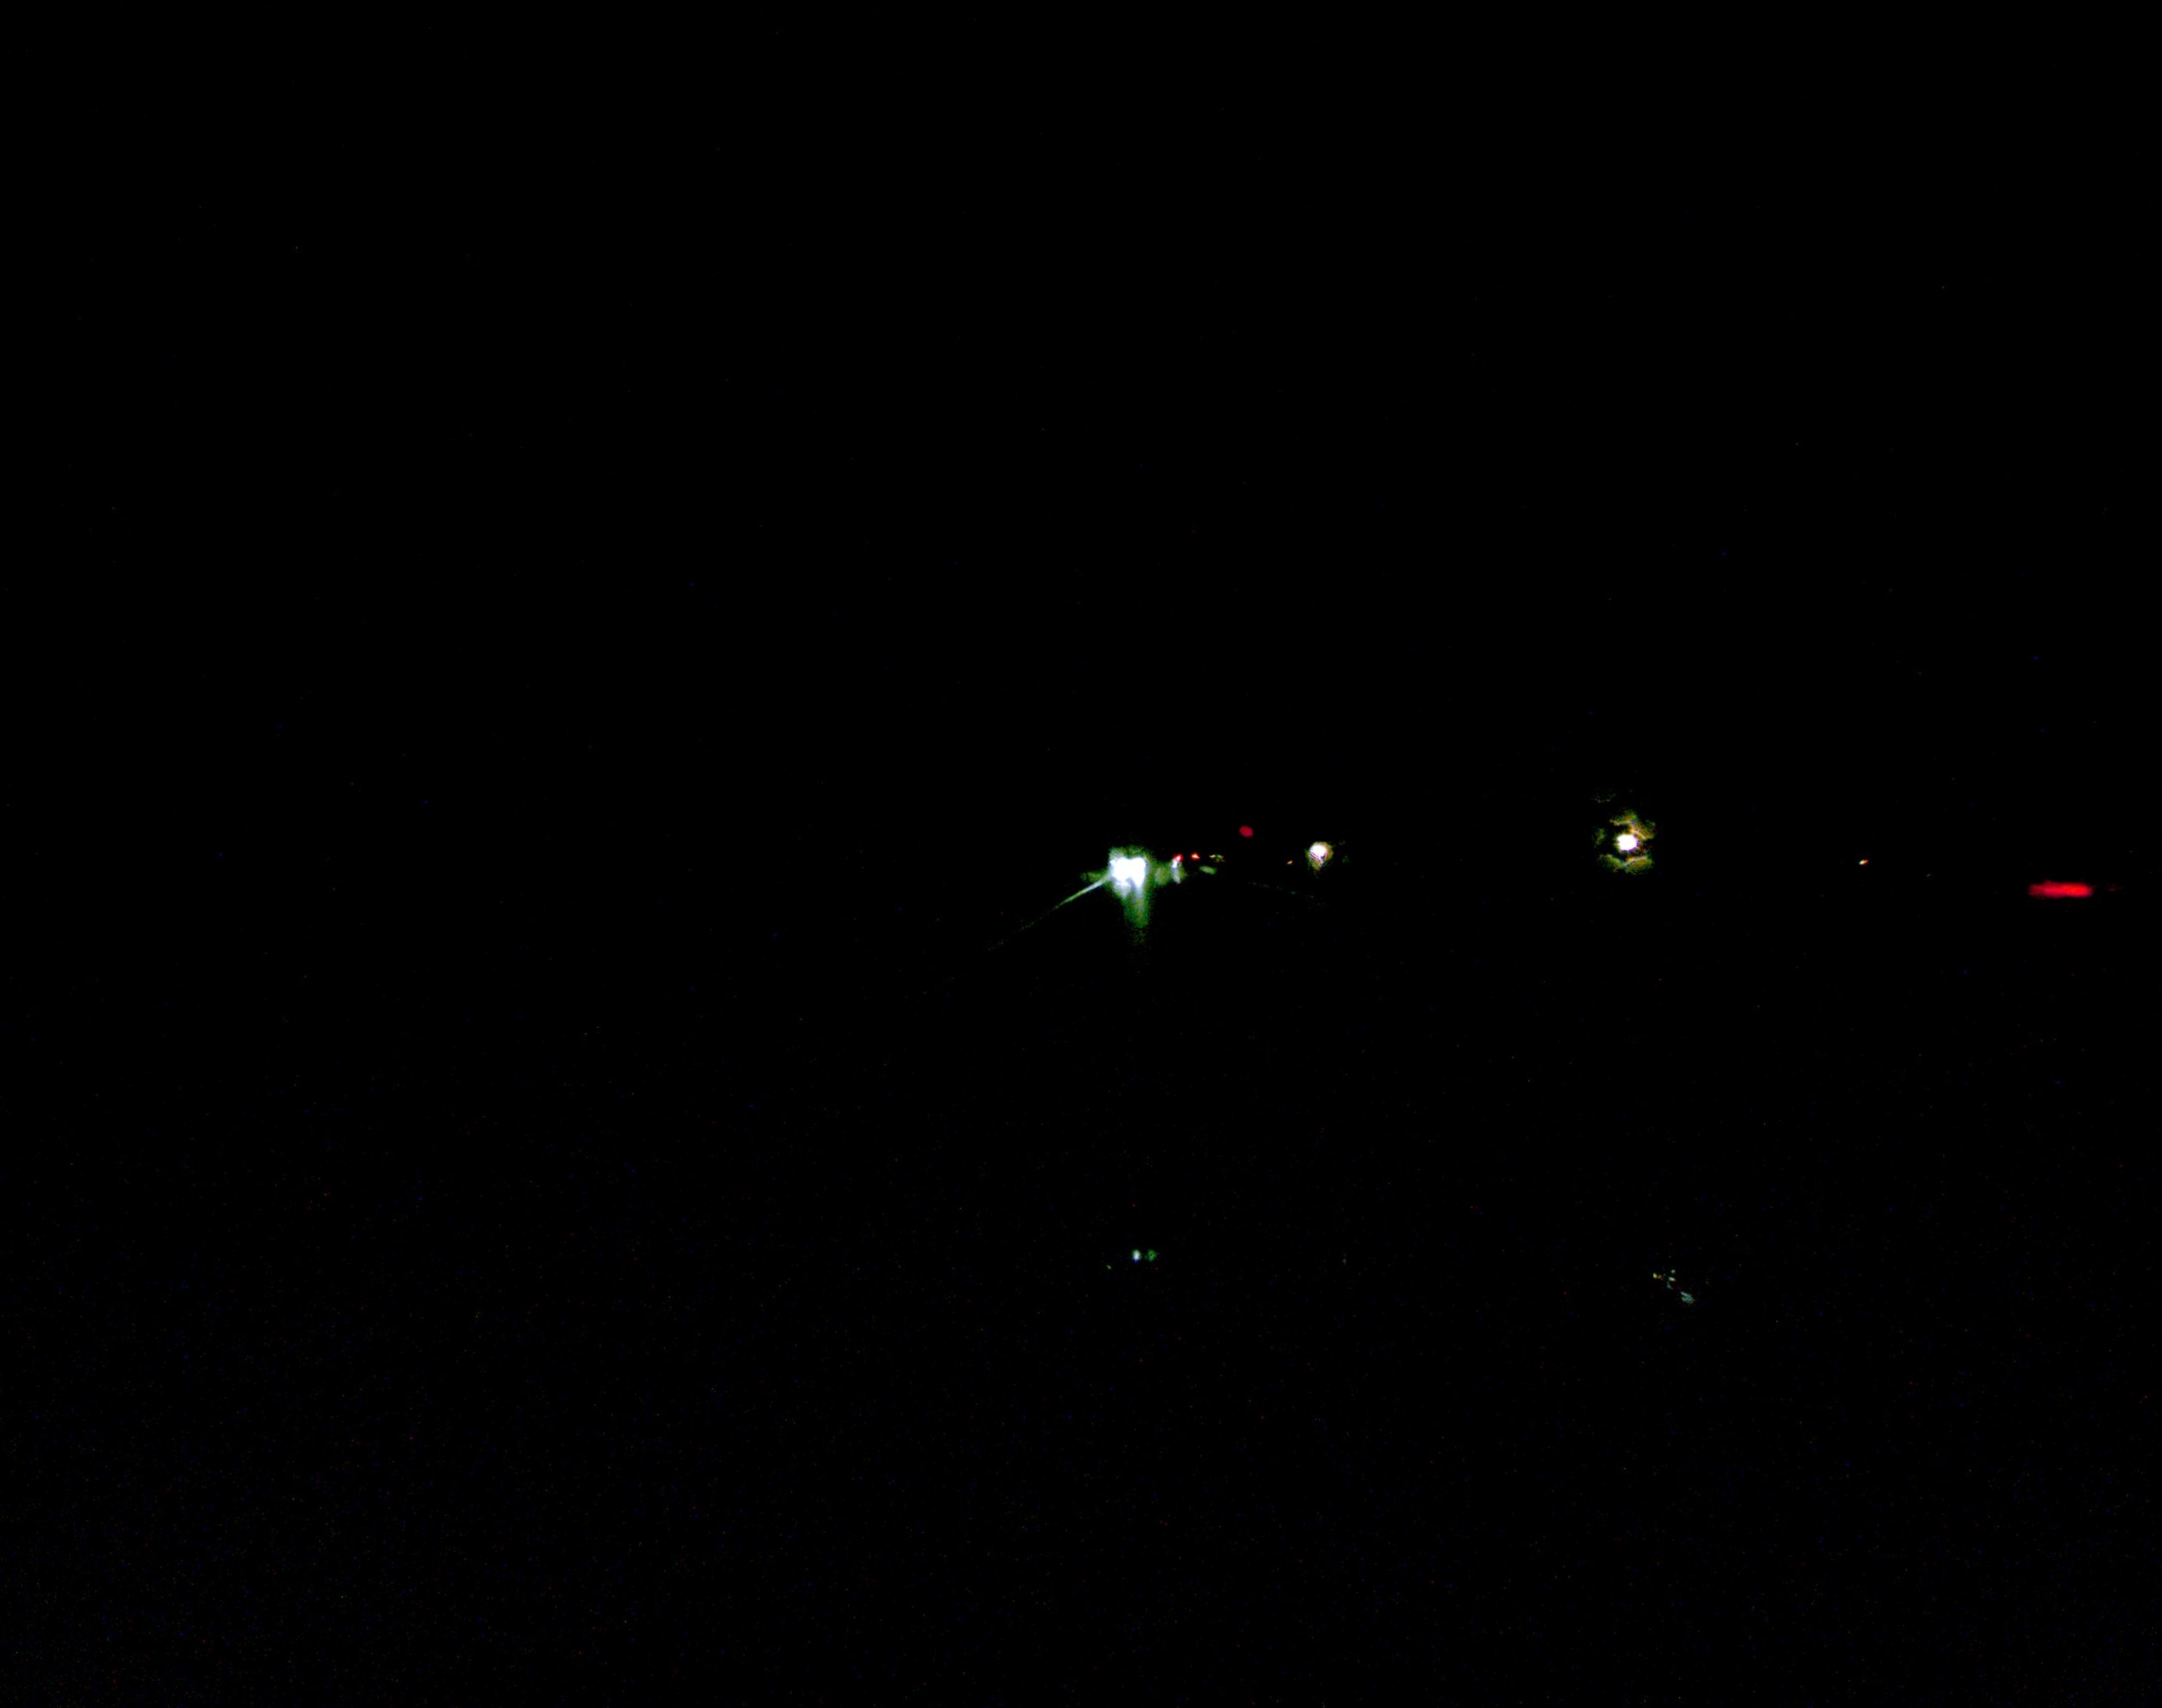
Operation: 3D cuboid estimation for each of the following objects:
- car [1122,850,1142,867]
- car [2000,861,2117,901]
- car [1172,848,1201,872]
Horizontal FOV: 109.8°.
[{"bbox_3d":[5.342,0.435,79.544,1.959,1.712,4.001,-2,0,3],"label":"car"},{"bbox_3d":[43.793,1.169,34.143,1.657,1.512,3.454,-3,1,21],"label":"car"},{"bbox_3d":[7.367,0.377,53.236,1.738,1.533,4.001,-3,1,4],"label":"car"}]
